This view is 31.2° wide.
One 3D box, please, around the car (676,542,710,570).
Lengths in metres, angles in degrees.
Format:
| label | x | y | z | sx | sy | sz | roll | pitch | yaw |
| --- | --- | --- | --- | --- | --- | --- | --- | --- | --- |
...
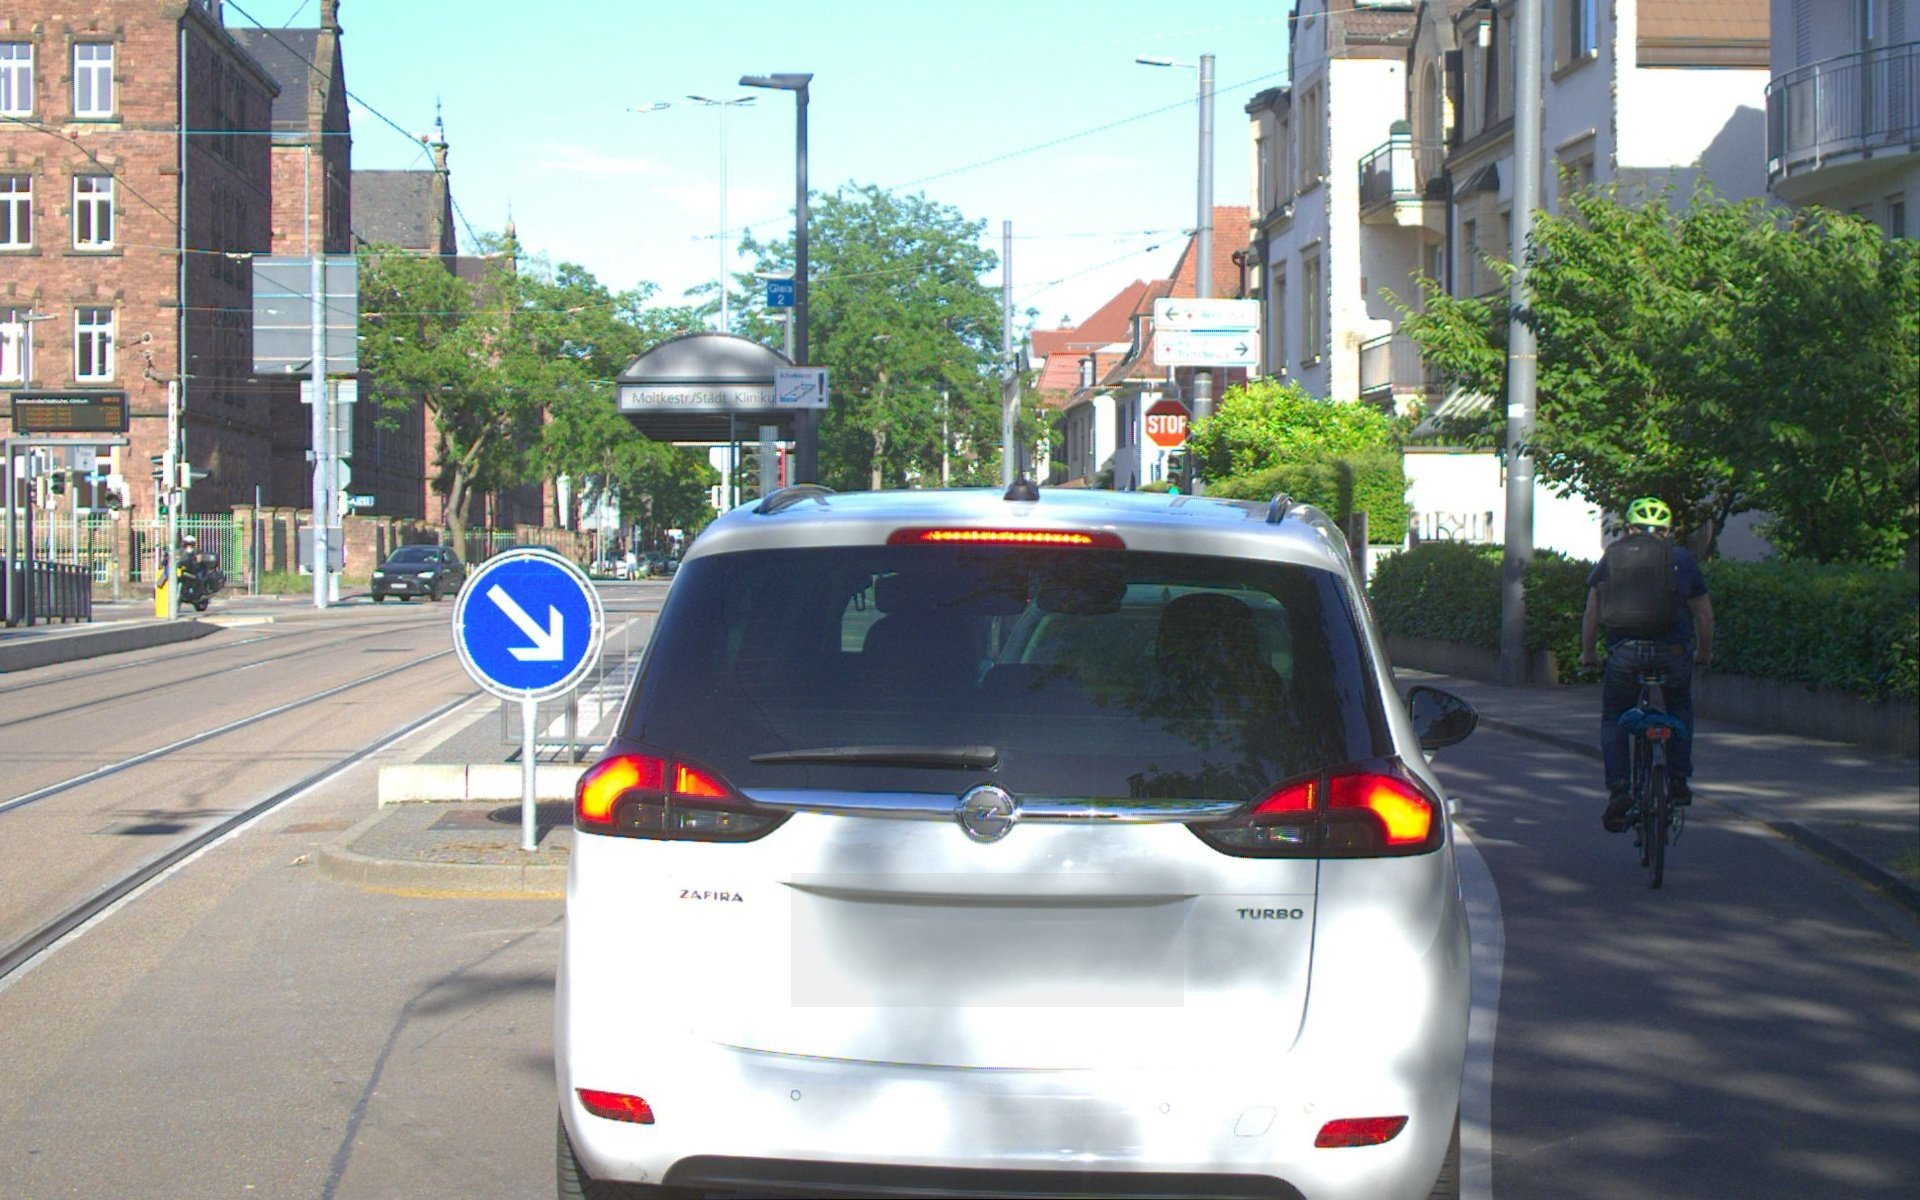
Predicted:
| label | x | y | z | sx | sy | sz | roll | pitch | yaw |
| --- | --- | --- | --- | --- | --- | --- | --- | --- | --- |
| car | -15.999 | -2.646 | 205.837 | 1.906 | 1.671 | 4.358 | 1 | 1 | -3 |

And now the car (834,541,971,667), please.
| label | x | y | z | sx | sy | sz | roll | pitch | yaw |
| --- | --- | --- | --- | --- | --- | --- | --- | --- | --- |
| car | -0.767 | 0.028 | 47.027 | 1.776 | 1.626 | 3.881 | 1 | 1 | 0 |

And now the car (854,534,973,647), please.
| label | x | y | z | sx | sy | sz | roll | pitch | yaw |
| --- | --- | --- | --- | --- | --- | --- | --- | --- | --- |
| car | -0.742 | -0.165 | 53.924 | 1.776 | 1.687 | 3.881 | 1 | 1 | -1 |

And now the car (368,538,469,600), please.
| label | x | y | z | sx | sy | sz | roll | pitch | yaw |
| --- | --- | --- | --- | --- | --- | --- | --- | --- | --- |
| car | -13.926 | -0.794 | 88.650 | 1.993 | 1.541 | 4.000 | 1 | 1 | -1 |

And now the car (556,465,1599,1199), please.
| label | x | y | z | sx | sy | sz | roll | pitch | yaw |
| --- | --- | --- | --- | --- | --- | --- | --- | --- | --- |
| car | 0.128 | 0.571 | 8.047 | 1.834 | 1.636 | 3.919 | 1 | 1 | -2 |

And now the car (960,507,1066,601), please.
| label | x | y | z | sx | sy | sz | roll | pitch | yaw |
| --- | --- | --- | --- | --- | --- | --- | --- | --- | --- |
| car | 0.939 | -0.835 | 62.598 | 1.776 | 1.626 | 3.881 | 1 | 1 | -1 |

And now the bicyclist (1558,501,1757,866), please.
| label | x | y | z | sx | sy | sz | roll | pitch | yaw |
| --- | --- | --- | --- | --- | --- | --- | --- | --- | --- |
| bicyclist | 3.217 | 0.368 | 15.930 | 0.685 | 1.629 | 1.015 | 1 | 0 | -1 |

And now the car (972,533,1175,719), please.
| label | x | y | z | sx | sy | sz | roll | pitch | yaw |
| --- | --- | --- | --- | --- | --- | --- | --- | --- | --- |
| car | 1.027 | 0.209 | 32.434 | 1.776 | 1.626 | 3.880 | 1 | 1 | 1 |

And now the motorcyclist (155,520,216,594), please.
| label | x | y | z | sx | sy | sz | roll | pitch | yaw |
| --- | --- | --- | --- | --- | --- | --- | --- | --- | --- |
| motorcyclist | -16.192 | -0.899 | 71.877 | 1.124 | 1.520 | 1.055 | 1 | 0 | -7 |

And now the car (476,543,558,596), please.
| label | x | y | z | sx | sy | sz | roll | pitch | yaw |
| --- | --- | --- | --- | --- | --- | --- | --- | --- | --- |
| car | -13.341 | -0.937 | 103.732 | 1.993 | 1.541 | 4.000 | 1 | 1 | -1 |

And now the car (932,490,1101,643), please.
| label | x | y | z | sx | sy | sz | roll | pitch | yaw |
| --- | --- | --- | --- | --- | --- | --- | --- | --- | --- |
| car | 0.597 | -0.378 | 39.087 | 1.776 | 1.626 | 3.881 | 1 | 1 | -1 |

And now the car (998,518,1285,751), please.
| label | x | y | z | sx | sy | sz | roll | pitch | yaw |
| --- | --- | --- | --- | --- | --- | --- | --- | --- | --- |
| car | 1.311 | 0.227 | 26.292 | 1.776 | 1.626 | 3.881 | 1 | 1 | -3 |

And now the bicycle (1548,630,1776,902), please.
| label | x | y | z | sx | sy | sz | roll | pitch | yaw |
| --- | --- | --- | --- | --- | --- | --- | --- | --- | --- |
| bicycle | 3.213 | 0.733 | 15.863 | 0.685 | 1.153 | 1.619 | 1 | 1 | -1 |

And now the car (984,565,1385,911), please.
| label | x | y | z | sx | sy | sz | roll | pitch | yaw |
| --- | --- | --- | --- | --- | --- | --- | --- | --- | --- |
| car | 0.961 | 0.562 | 16.443 | 1.586 | 1.415 | 3.900 | 0 | 1 | -1 |

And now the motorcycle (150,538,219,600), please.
| label | x | y | z | sx | sy | sz | roll | pitch | yaw |
| --- | --- | --- | --- | --- | --- | --- | --- | --- | --- |
| motorcycle | -16.191 | -0.650 | 71.853 | 1.130 | 1.239 | 2.574 | 1 | 1 | -7 |

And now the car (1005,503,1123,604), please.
| label | x | y | z | sx | sy | sz | roll | pitch | yaw |
| --- | --- | --- | --- | --- | --- | --- | --- | --- | --- |
| car | 1.731 | -0.781 | 58.255 | 1.776 | 1.626 | 3.881 | 1 | 1 | -1 |
